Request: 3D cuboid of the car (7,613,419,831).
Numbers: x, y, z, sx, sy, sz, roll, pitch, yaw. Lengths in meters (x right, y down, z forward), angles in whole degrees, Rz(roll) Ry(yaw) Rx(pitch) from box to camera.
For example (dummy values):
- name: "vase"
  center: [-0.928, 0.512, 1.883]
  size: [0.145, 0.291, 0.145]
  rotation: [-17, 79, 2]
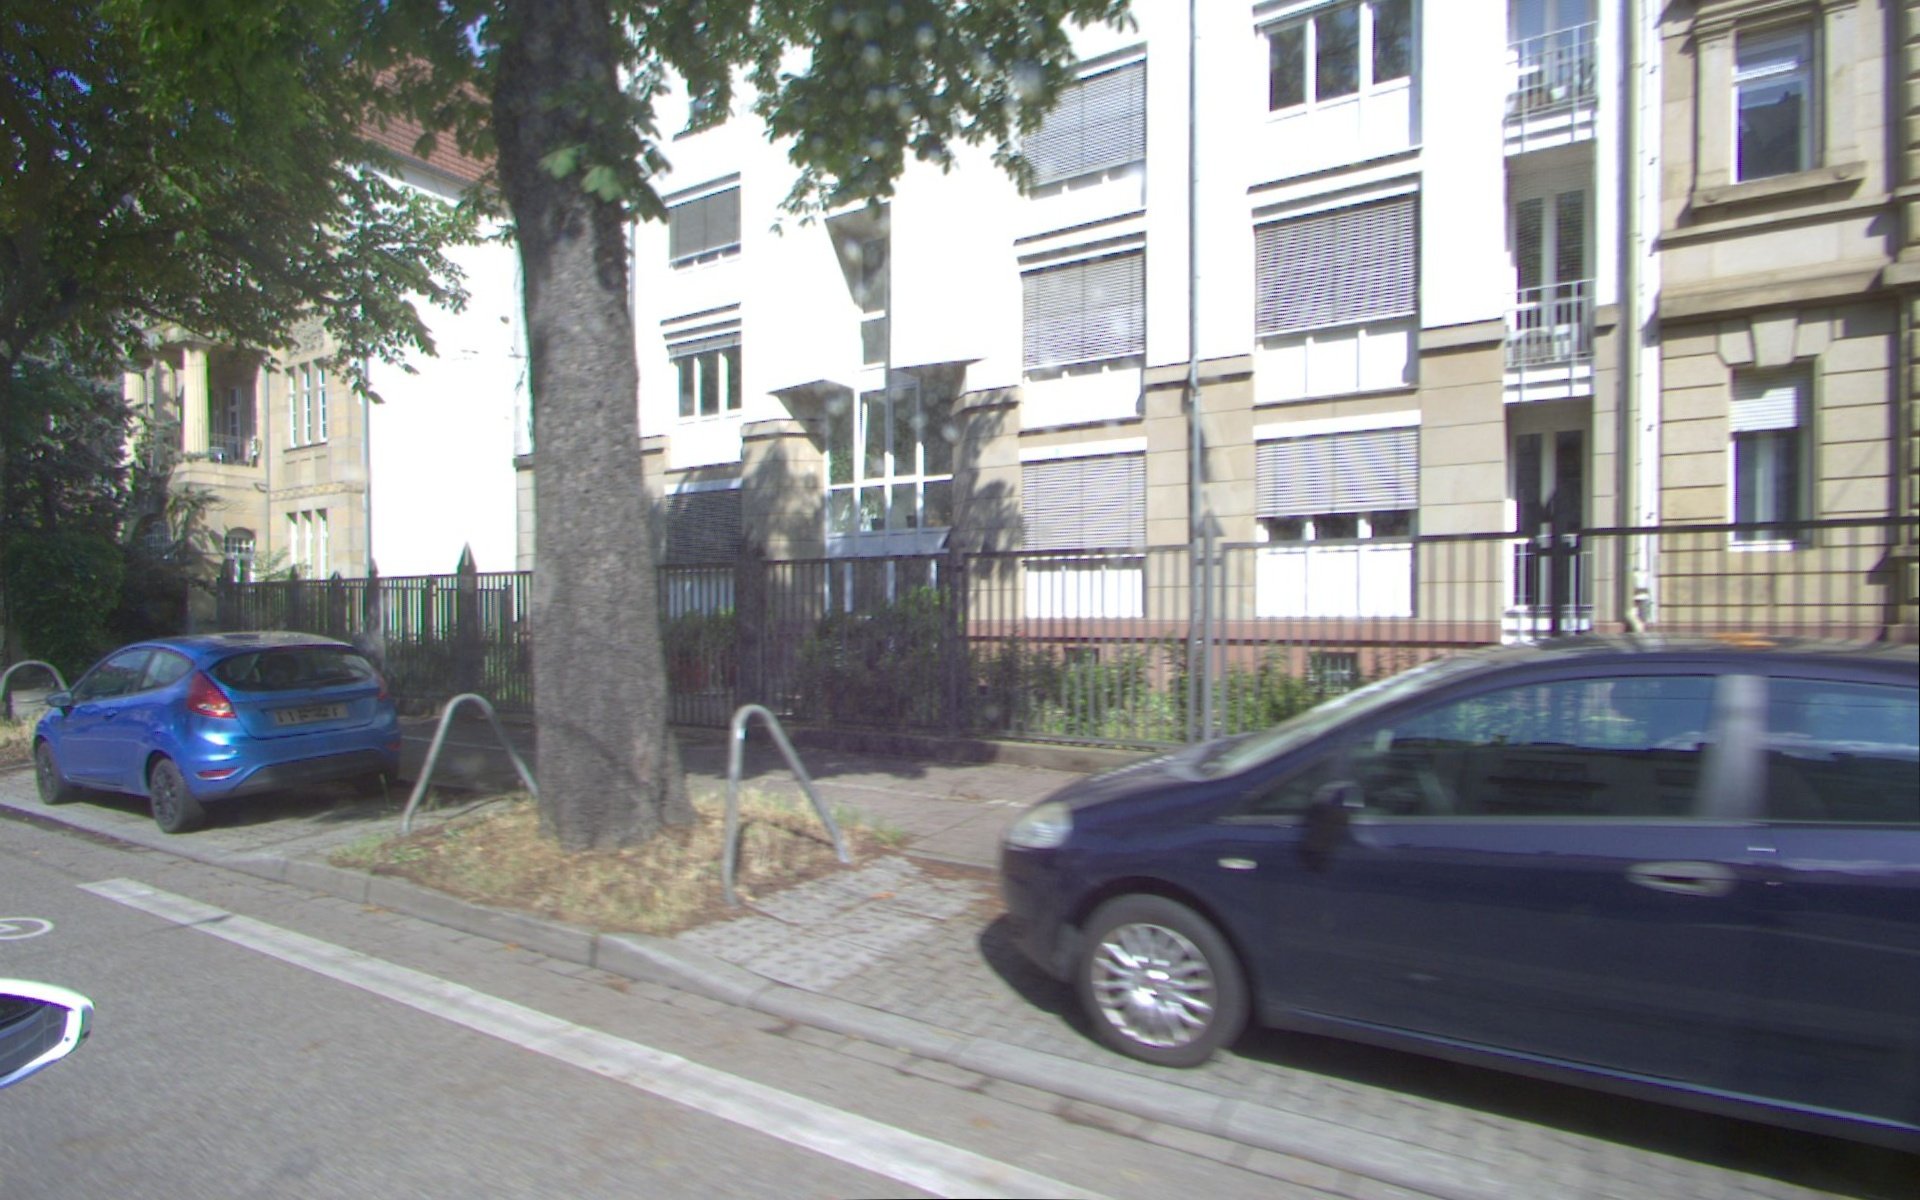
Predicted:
- name: "car"
  center: [-6.675, 0.904, 8.868]
  size: [3.792, 1.516, 1.620]
  rotation: [0, 1, 32]

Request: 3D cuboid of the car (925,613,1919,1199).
- name: "car"
  center: [1.876, 0.824, 3.579]
  size: [3.701, 1.516, 1.637]
  rotation: [0, 1, 30]
